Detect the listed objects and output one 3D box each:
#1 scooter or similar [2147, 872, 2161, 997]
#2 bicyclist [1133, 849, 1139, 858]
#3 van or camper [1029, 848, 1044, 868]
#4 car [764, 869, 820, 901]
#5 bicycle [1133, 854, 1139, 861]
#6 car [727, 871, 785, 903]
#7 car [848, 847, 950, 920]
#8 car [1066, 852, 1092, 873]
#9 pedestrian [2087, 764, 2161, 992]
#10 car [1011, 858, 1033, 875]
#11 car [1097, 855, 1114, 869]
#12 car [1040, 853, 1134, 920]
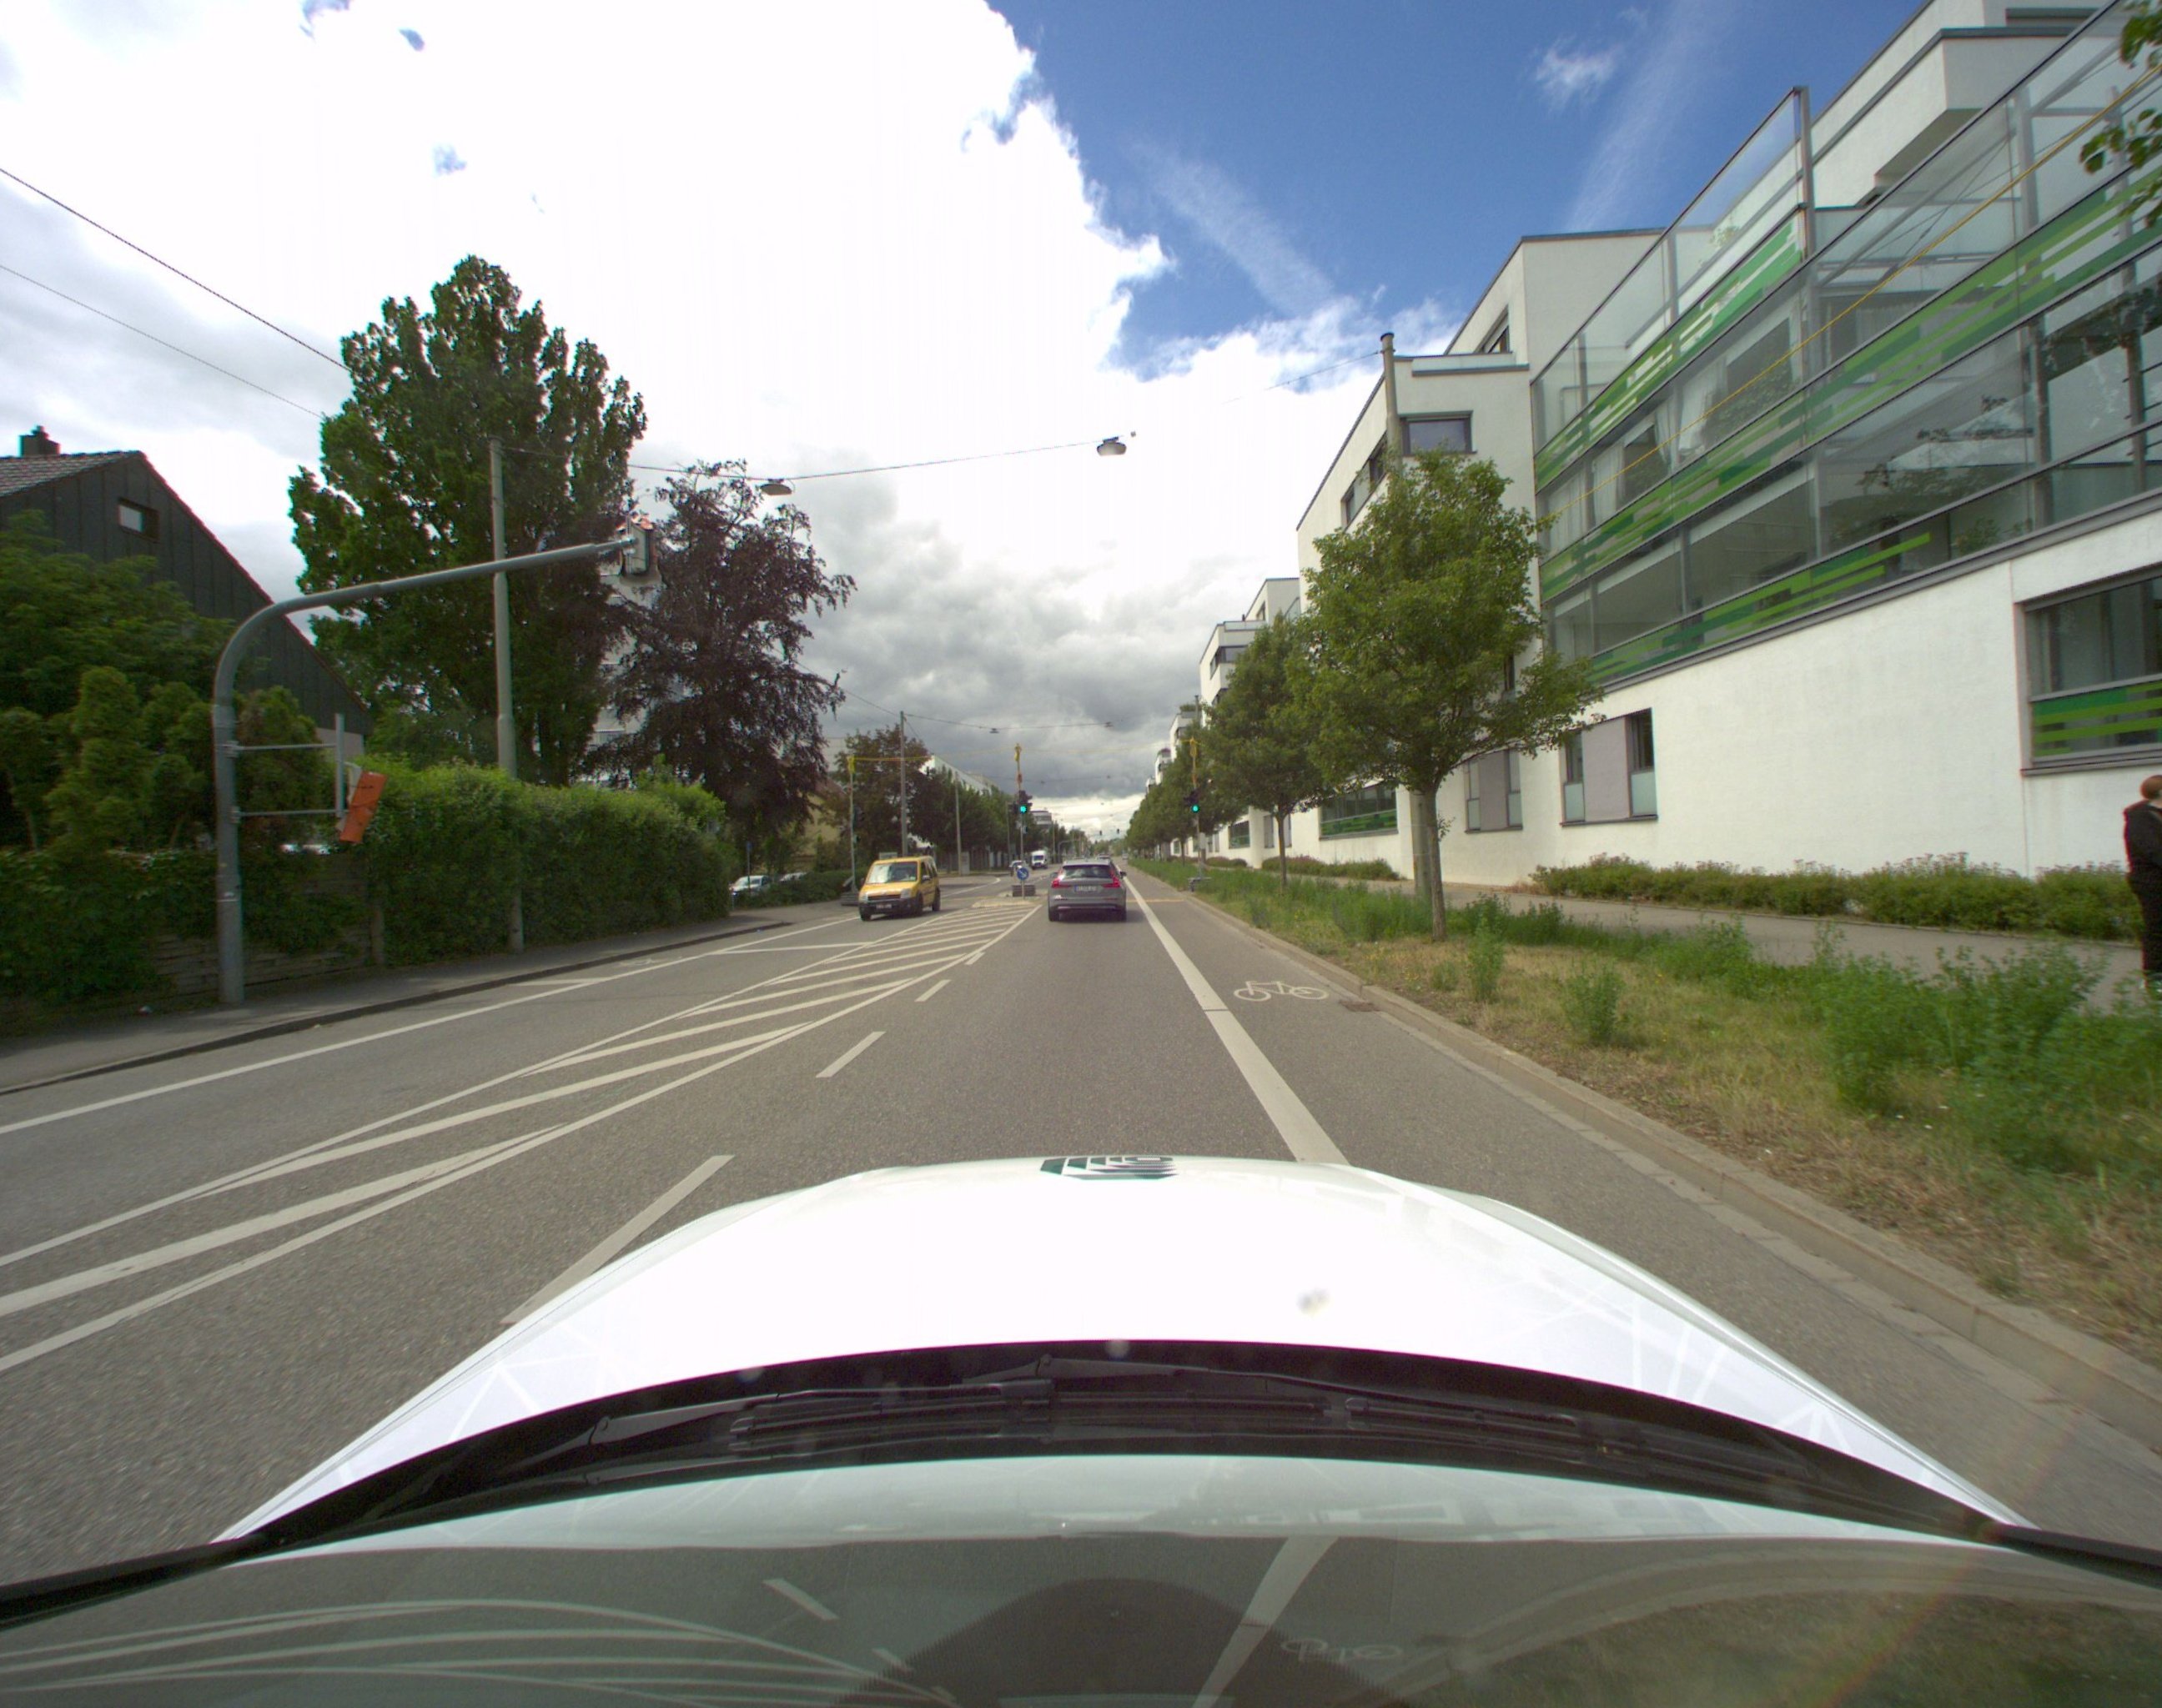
[{"bbox_3d":[8.063,0.577,5.644,0.420,0.905,0.682,-3,0,1],"label":"scooter or similar"},{"bbox_3d":[12.067,-0.084,178.413,1.010,2.013,1.131,-4,0,1],"label":"bicyclist"},{"bbox_3d":[-6.421,0.549,118.647,1.989,2.734,6.047,-3,0,-2],"label":"van or camper"},{"bbox_3d":[-15.148,1.588,42.815,1.656,1.515,3.435,-2,0,0],"label":"car"},{"bbox_3d":[12.097,0.657,178.473,1.063,1.453,2.978,-4,0,1],"label":"bicycle"},{"bbox_3d":[-17.302,1.729,43.470,1.656,1.515,3.435,-2,0,0],"label":"car"},{"bbox_3d":[-5.369,0.814,24.679,1.834,1.904,4.687,-3,0,2],"label":"car"},{"bbox_3d":[-0.122,0.613,63.435,1.848,1.513,4.001,-2,0,1],"label":"car"},{"bbox_3d":[8.136,0.161,6.025,0.603,1.655,0.552,-3,0,1],"label":"pedestrian"},{"bbox_3d":[-5.730,1.176,79.070,1.655,1.515,4.001,-2,0,2],"label":"car"},{"bbox_3d":[2.746,0.878,93.088,1.838,1.513,4.001,-2,0,1],"label":"car"},{"bbox_3d":[0.266,0.756,20.483,1.844,1.513,4.009,-1,0,8],"label":"car"}]
